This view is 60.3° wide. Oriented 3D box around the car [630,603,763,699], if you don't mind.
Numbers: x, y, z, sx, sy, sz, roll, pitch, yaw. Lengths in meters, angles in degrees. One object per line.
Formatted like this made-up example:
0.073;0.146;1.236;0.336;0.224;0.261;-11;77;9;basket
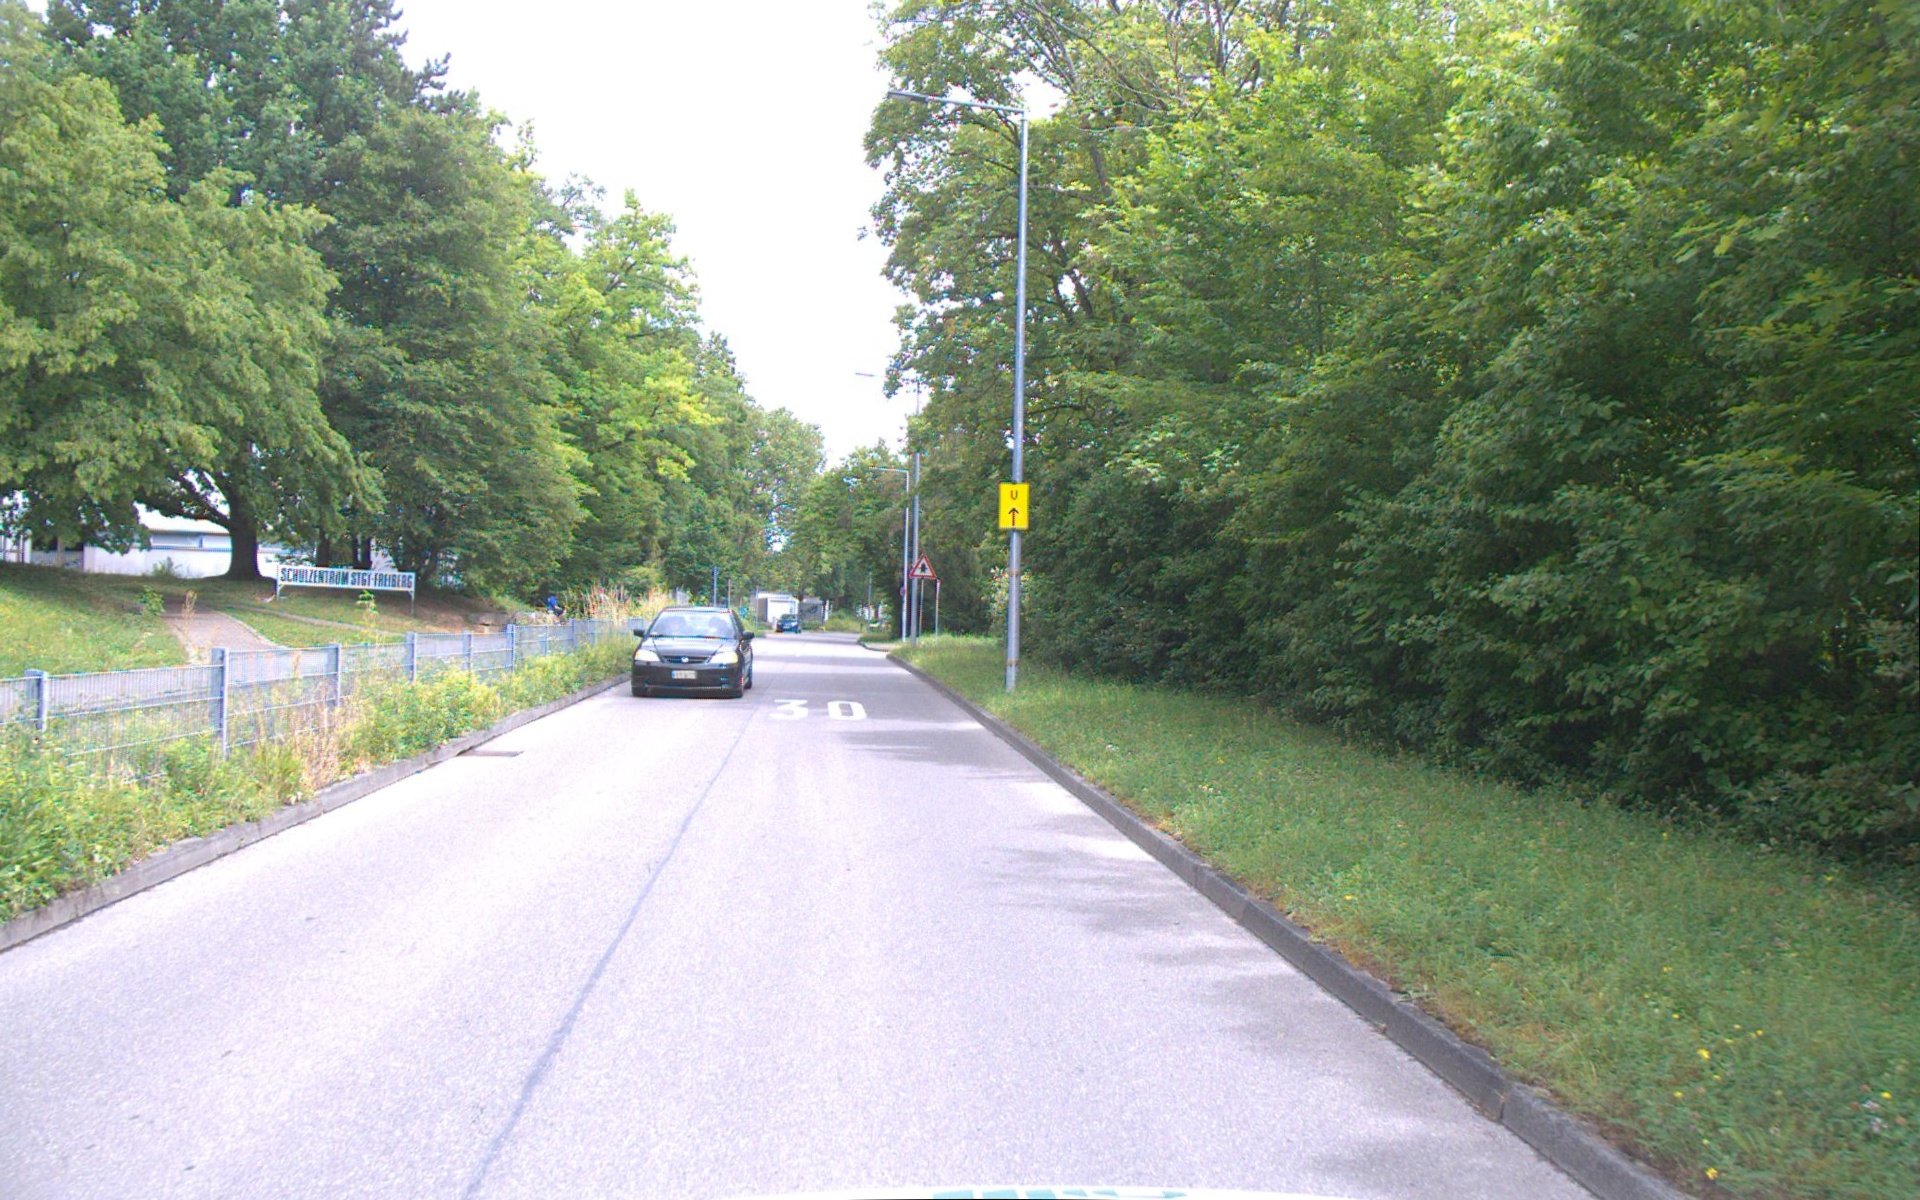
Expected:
-4.110;0.758;26.315;1.659;1.372;4.091;1;0;-3;car

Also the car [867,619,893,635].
-8.237;2.797;170.589;1.820;1.518;4.002;-1;-3;9;car

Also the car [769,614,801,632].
-14.004;1.845;132.662;1.938;1.408;4.001;2;-1;3;car

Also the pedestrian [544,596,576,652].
-14.948;0.914;61.814;0.862;2.049;0.862;-4;-4;41;pedestrian
